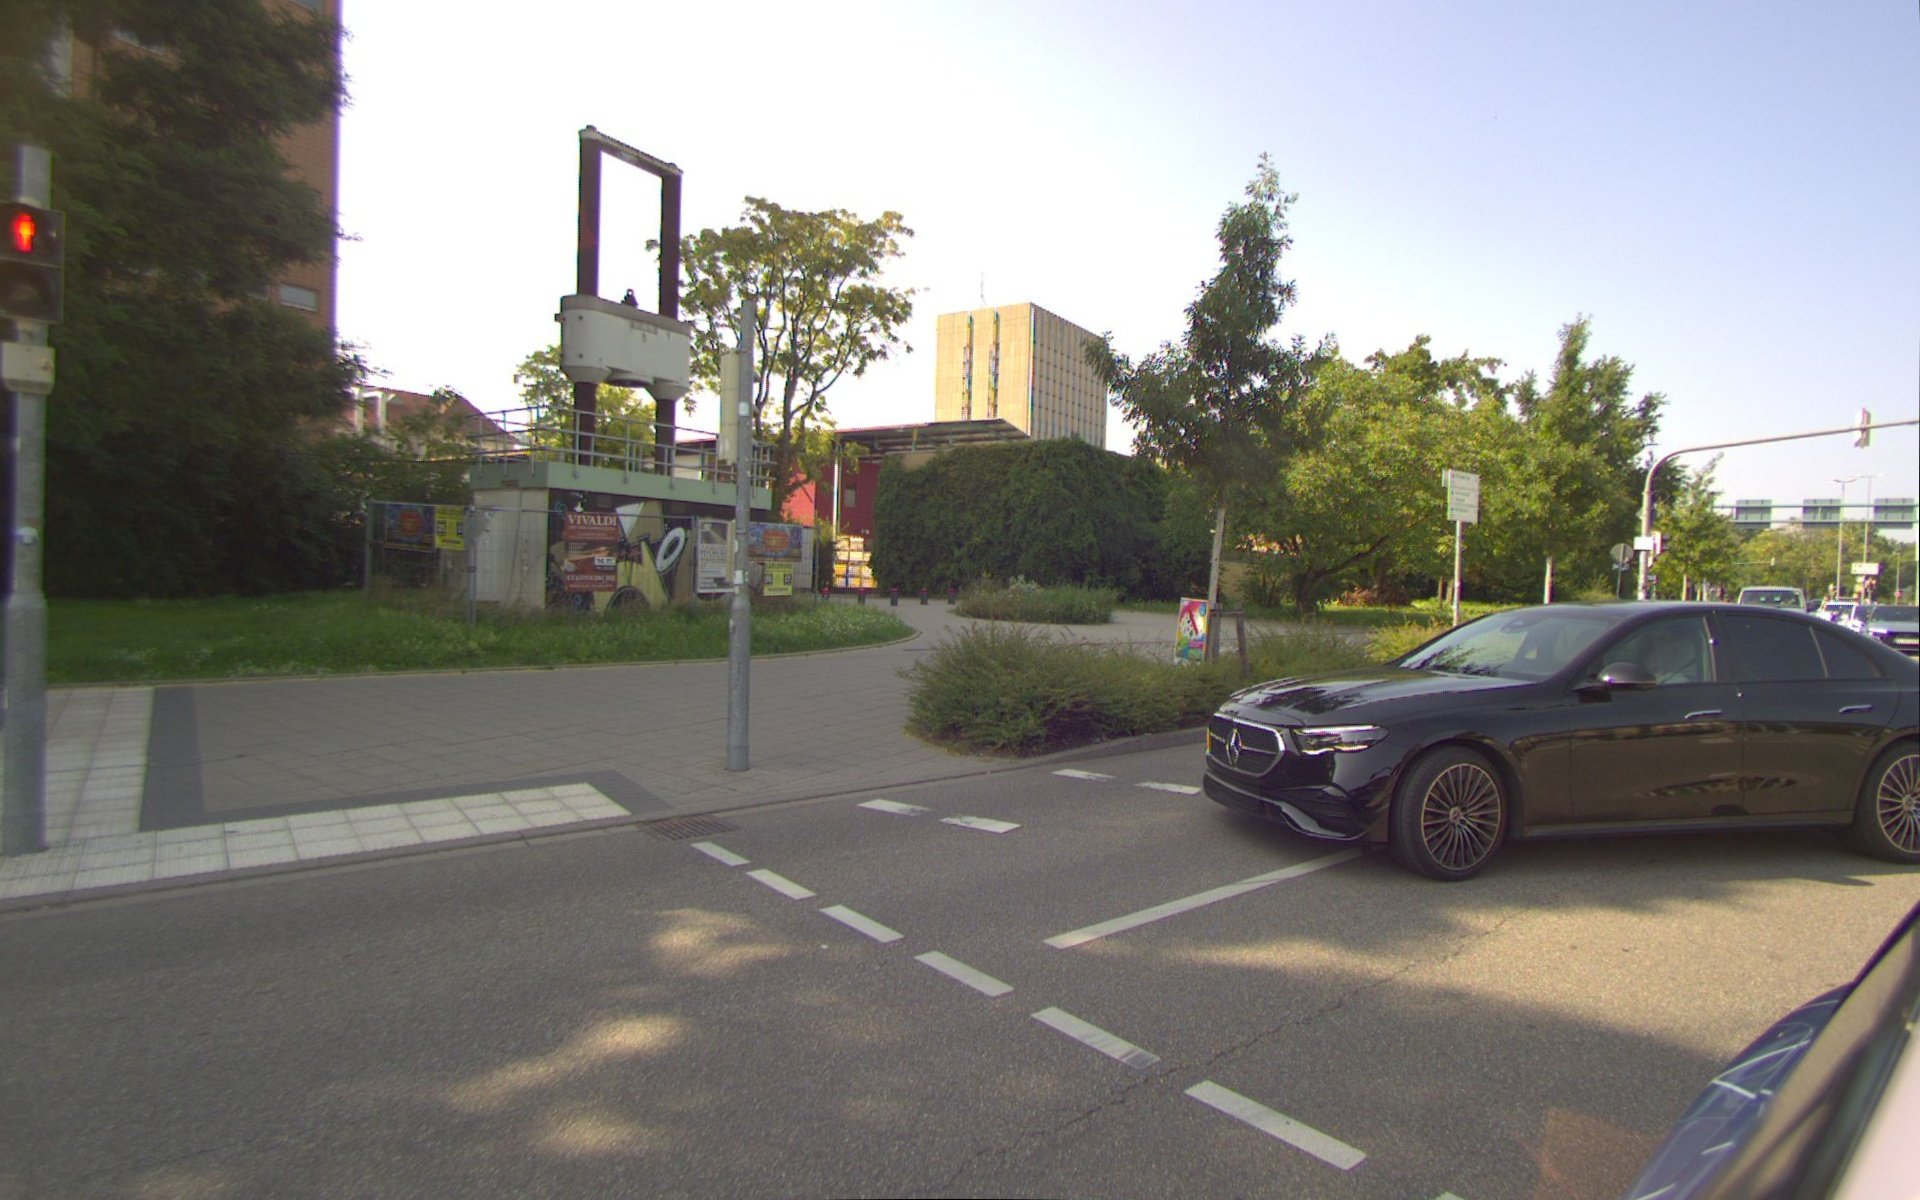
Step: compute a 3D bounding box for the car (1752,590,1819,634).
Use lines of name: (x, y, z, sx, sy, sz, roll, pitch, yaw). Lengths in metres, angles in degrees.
car: (31.592, 0.425, 38.709, 1.804, 1.524, 3.908, 3, 2, 41)

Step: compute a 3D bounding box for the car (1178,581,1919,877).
car: (3.988, 0.646, 6.311, 4.772, 1.458, 1.829, 1, 1, -10)

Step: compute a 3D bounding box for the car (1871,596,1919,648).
car: (28.511, 0.628, 30.153, 1.904, 1.418, 4.846, 3, 2, 41)

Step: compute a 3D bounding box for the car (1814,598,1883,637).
car: (38.074, 0.711, 43.455, 1.991, 1.524, 4.372, 3, 2, 39)

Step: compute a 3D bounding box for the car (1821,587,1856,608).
car: (94.099, -0.296, 108.433, 1.903, 2.039, 3.959, 3, 0, 28)

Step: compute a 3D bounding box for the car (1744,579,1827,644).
car: (26.440, 0.320, 32.358, 1.840, 1.898, 4.899, 2, 2, 41)

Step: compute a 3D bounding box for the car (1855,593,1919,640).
car: (33.109, 0.561, 35.898, 1.993, 1.524, 4.368, 3, 2, 41)

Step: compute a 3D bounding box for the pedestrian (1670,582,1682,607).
pedestrian: (55.044, -0.410, 77.800, 0.620, 1.868, 0.633, 2, 2, 37)

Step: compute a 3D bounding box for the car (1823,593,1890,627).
car: (43.869, 0.457, 49.609, 1.921, 1.524, 4.241, 3, 2, 35)

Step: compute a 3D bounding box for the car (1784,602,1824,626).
car: (63.914, 1.018, 76.719, 1.921, 1.680, 4.241, 3, 2, 35)

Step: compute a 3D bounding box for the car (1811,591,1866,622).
car: (50.960, 0.332, 58.770, 1.921, 1.680, 4.241, 3, 2, 35)

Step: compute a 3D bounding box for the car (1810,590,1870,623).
car: (47.335, 0.317, 54.512, 1.921, 1.680, 4.241, 3, 2, 35)
